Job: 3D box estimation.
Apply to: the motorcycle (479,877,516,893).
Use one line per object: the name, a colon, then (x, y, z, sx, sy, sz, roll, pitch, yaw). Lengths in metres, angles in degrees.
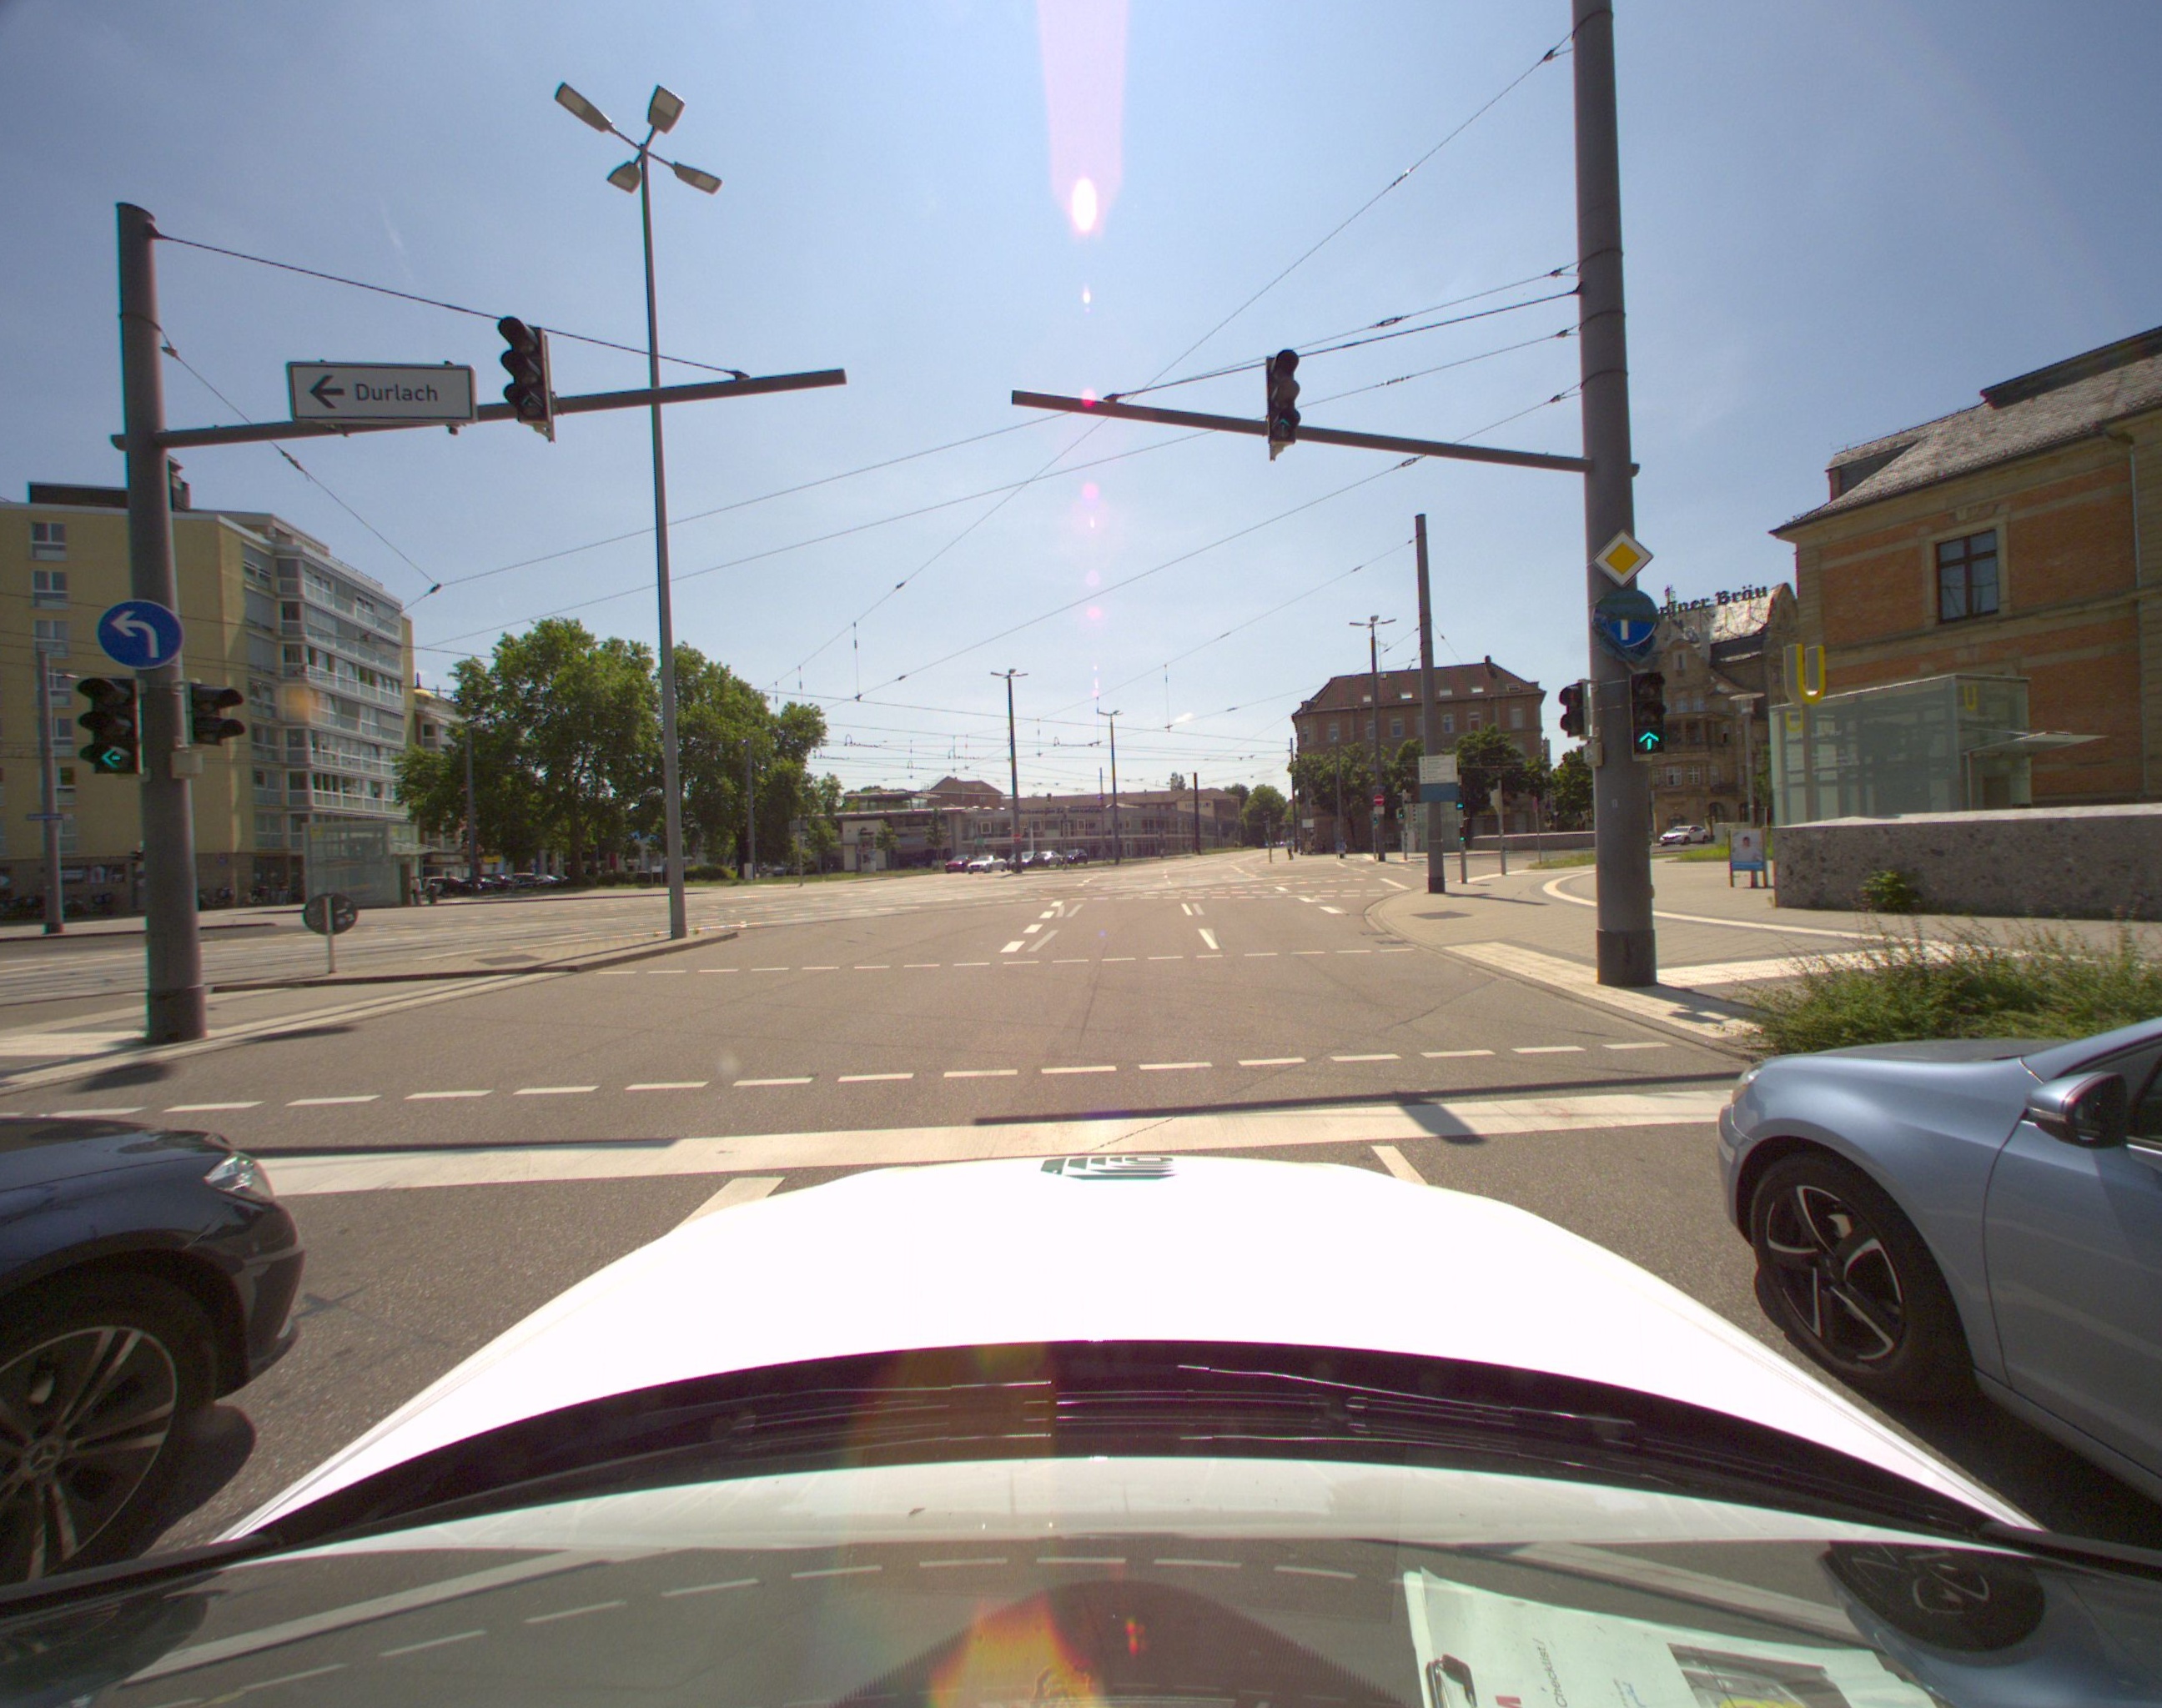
motorcycle: (-39.593, 2.081, 55.283, 1.925, 0.961, 0.521, -2, 0, -29)

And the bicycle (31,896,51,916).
bicycle: (-56.906, 2.834, 44.561, 0.435, 1.026, 1.426, -2, 0, -42)

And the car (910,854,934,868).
car: (-19.625, 0.868, 100.664, 1.913, 1.707, 4.002, 0, -1, 2)

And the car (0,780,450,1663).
car: (-2.974, 0.700, 0.151, 1.790, 1.640, 4.808, -1, 0, 3)

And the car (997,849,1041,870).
car: (-5.302, 0.448, 70.564, 1.977, 1.700, 4.870, -2, 0, 19)

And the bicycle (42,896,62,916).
bicycle: (-56.399, 2.831, 44.635, 0.435, 1.026, 1.426, -2, 0, -42)

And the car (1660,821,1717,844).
car: (47.405, -1.658, 63.542, 4.197, 1.605, 1.682, -3, 0, -22)

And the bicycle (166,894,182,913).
bicycle: (-51.214, 2.806, 46.001, 0.435, 1.026, 1.426, -2, 0, -42)

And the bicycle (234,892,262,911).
bicycle: (-49.263, 2.813, 48.163, 0.432, 1.026, 1.437, -2, 0, -14)

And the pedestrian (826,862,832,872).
pedestrian: (-30.462, 1.596, 98.491, 0.510, 1.204, 0.446, -2, 0, 7)

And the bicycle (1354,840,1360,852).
bicycle: (26.443, -0.772, 78.018, 0.546, 1.120, 1.829, -2, 0, 18)

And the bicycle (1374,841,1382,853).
bicycle: (28.293, -0.634, 77.605, 0.546, 1.120, 1.898, -2, 0, 18)

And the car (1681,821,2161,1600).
car: (2.829, 0.660, 0.738, 1.646, 1.459, 4.003, -1, 0, 0)

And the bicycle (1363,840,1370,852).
bicycle: (27.335, -0.756, 77.867, 0.546, 1.120, 1.829, -2, 0, 18)

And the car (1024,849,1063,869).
car: (-3.488, 0.468, 76.467, 1.977, 1.739, 4.565, -2, 0, 19)

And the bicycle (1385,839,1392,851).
bicycle: (29.482, -0.876, 78.091, 0.546, 1.120, 1.879, -2, 0, 18)

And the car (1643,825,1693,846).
car: (48.845, -1.515, 67.780, 3.656, 1.605, 1.682, -3, 0, -22)

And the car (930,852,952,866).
car: (-17.272, 0.653, 100.702, 1.913, 1.707, 4.002, 0, -1, 2)

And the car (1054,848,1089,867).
car: (-0.919, 0.330, 83.267, 2.061, 1.682, 4.870, -2, 0, 19)

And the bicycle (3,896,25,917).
bicycle: (-57.850, 2.837, 44.167, 0.435, 1.026, 1.426, -2, 0, -42)

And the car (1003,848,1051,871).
car: (-4.216, 0.382, 64.705, 1.977, 1.637, 4.870, -2, 0, 19)

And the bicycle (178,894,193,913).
bicycle: (-50.792, 2.805, 46.189, 0.435, 1.026, 1.426, -2, 0, -42)

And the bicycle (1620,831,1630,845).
bicycle: (55.450, -1.644, 83.043, 0.730, 1.398, 2.025, -1, -1, 30)

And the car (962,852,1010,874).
car: (-7.457, 0.676, 64.472, 2.061, 1.580, 4.866, -2, 0, 15)

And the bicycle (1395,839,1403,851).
bicycle: (30.527, -0.898, 78.102, 0.546, 1.120, 1.938, -2, 0, 18)

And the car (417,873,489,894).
car: (-48.859, 2.287, 63.488, 4.004, 1.420, 1.985, -2, 0, -23)

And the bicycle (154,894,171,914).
bicycle: (-51.679, 2.808, 45.833, 0.435, 1.026, 1.426, -2, 0, -42)

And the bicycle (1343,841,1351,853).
bicycle: (25.541, -0.663, 78.249, 0.440, 1.146, 2.099, -1, -1, 9)

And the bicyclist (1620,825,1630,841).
bicyclist: (55.427, -2.125, 83.006, 0.730, 1.610, 1.084, -1, -1, 30)

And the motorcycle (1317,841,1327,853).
motorcycle: (23.267, -0.677, 78.639, 0.577, 1.074, 1.949, -2, 0, 6)

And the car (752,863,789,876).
car: (-41.241, 2.044, 108.218, 4.343, 1.510, 1.754, -2, 0, -33)

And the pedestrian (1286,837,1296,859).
pedestrian: (16.909, -0.482, 65.634, 0.462, 1.708, 0.636, -2, 0, -16)

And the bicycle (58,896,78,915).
bicycle: (-55.902, 2.831, 44.955, 0.435, 1.026, 1.426, -2, 0, -42)

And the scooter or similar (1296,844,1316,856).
scooter or similar: (22.503, -0.406, 81.325, 1.787, 1.181, 0.597, -2, 0, -11)

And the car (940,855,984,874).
car: (-10.400, 0.868, 71.836, 1.979, 1.465, 4.866, -2, 0, 15)

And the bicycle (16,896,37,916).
bicycle: (-57.394, 2.836, 44.326, 0.435, 1.026, 1.426, -2, 0, -42)

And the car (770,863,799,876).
car: (-37.337, 1.914, 102.644, 1.760, 1.510, 4.330, -2, 0, 3)

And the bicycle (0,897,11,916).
bicycle: (-58.449, 2.840, 44.017, 0.435, 1.026, 1.426, -2, 0, -42)

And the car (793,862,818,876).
car: (-34.550, 1.850, 102.114, 1.763, 1.510, 4.322, -2, 0, -3)
